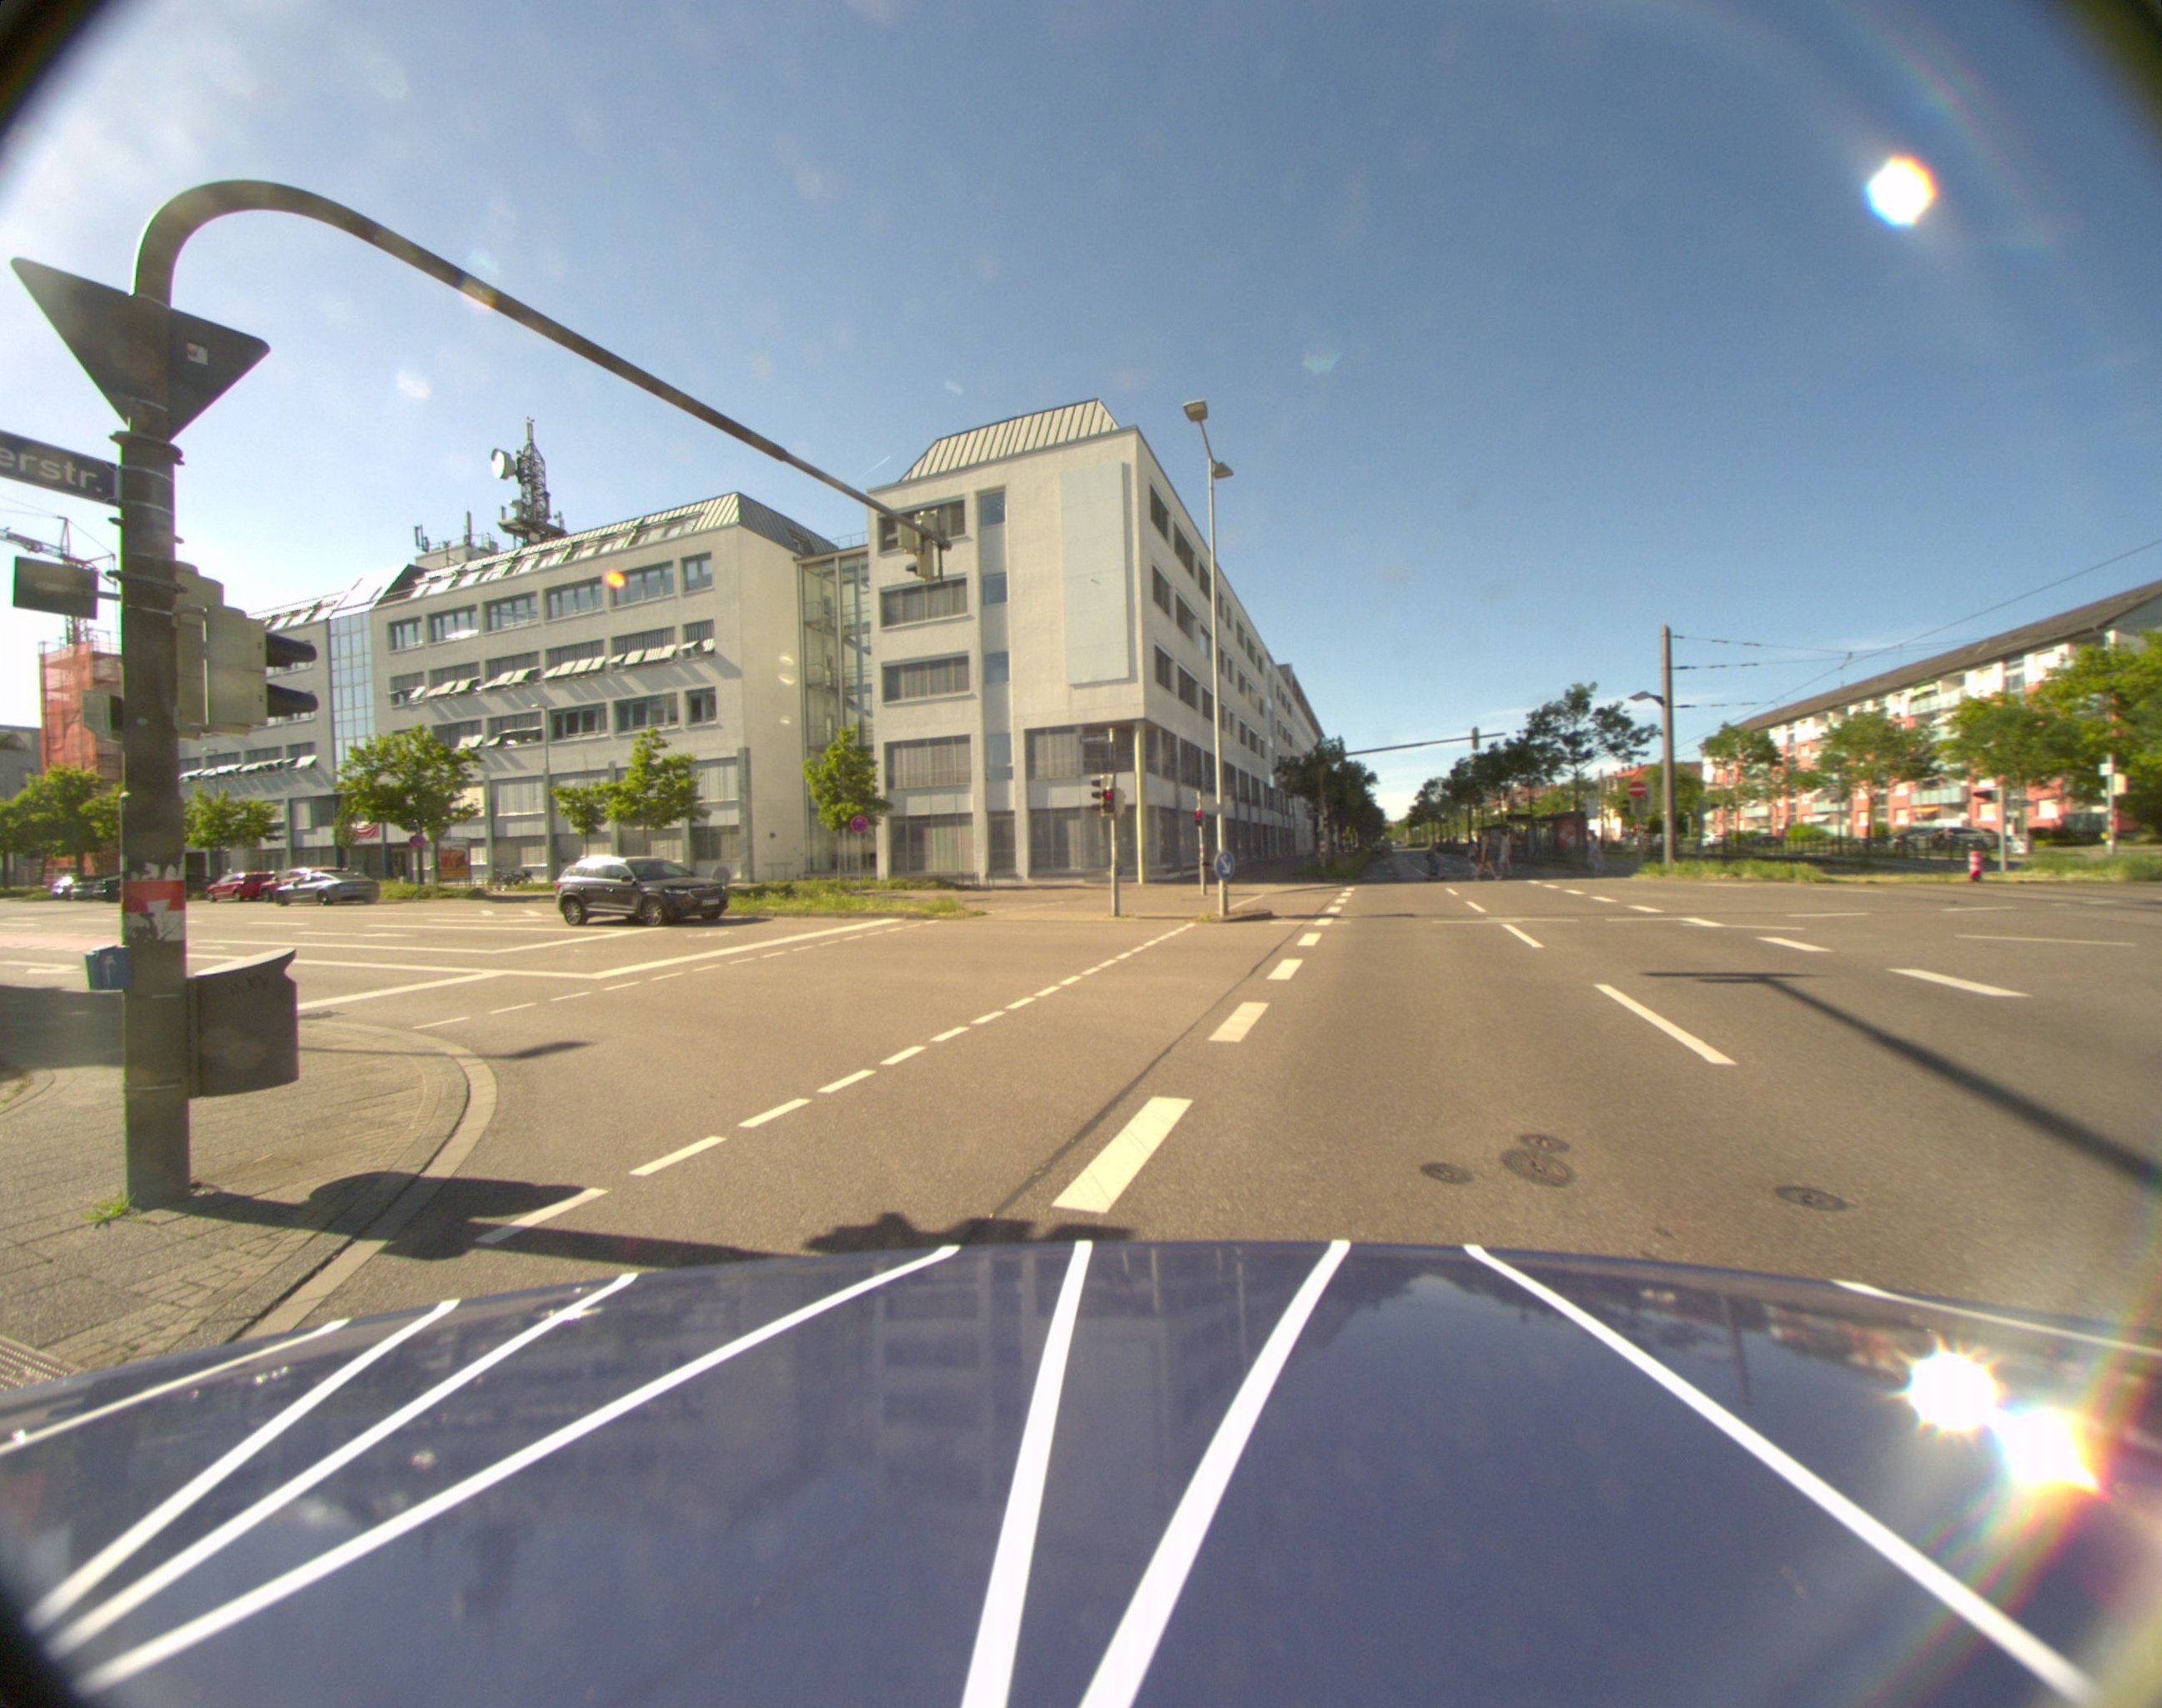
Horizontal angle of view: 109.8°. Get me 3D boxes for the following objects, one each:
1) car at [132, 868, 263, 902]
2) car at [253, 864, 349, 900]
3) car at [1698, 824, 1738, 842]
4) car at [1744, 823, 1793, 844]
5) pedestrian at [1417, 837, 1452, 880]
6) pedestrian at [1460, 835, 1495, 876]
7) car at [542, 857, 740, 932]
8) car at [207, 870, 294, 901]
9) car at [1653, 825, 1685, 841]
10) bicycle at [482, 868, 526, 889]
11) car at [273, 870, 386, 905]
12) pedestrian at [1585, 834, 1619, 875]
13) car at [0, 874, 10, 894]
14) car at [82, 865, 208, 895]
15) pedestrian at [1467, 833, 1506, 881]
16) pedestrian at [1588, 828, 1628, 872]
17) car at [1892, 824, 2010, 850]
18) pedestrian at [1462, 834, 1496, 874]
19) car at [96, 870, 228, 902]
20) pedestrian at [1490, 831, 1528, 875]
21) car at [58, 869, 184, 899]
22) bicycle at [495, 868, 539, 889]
[{"bbox_3d":[-49.743,1.704,42.914,1.690,1.530,4.403,-1,3,17],"label":"car"},{"bbox_3d":[-38.600,1.394,37.596,4.300,1.598,1.695,-1,3,22],"label":"car"},{"bbox_3d":[67.734,-2.176,80.912,1.996,1.838,4.005,-1,0,20],"label":"car"},{"bbox_3d":[64.142,-1.864,70.993,1.996,1.838,4.005,-1,0,20],"label":"car"},{"bbox_3d":[14.310,0.174,30.755,1.152,1.716,0.814,-1,1,17],"label":"pedestrian"},{"bbox_3d":[16.834,0.054,32.308,1.152,1.716,0.814,-1,1,17],"label":"pedestrian"},{"bbox_3d":[-11.038,0.978,19.082,4.468,1.619,1.761,-1,3,21],"label":"car"},{"bbox_3d":[-43.104,1.607,39.425,3.862,1.424,1.695,-1,3,22],"label":"car"},{"bbox_3d":[73.454,-2.635,94.999,1.996,1.838,4.005,-1,0,20],"label":"car"},{"bbox_3d":[-31.034,1.301,40.895,0.554,1.063,1.776,-1,0,29],"label":"bicycle"},{"bbox_3d":[-33.475,1.488,33.854,4.537,1.460,1.696,-1,0,19],"label":"car"},{"bbox_3d":[20.112,0.019,29.341,0.856,1.524,0.727,-1,1,17],"label":"pedestrian"},{"bbox_3d":[-81.131,2.353,54.576,1.973,1.424,4.403,-1,3,18],"label":"car"},{"bbox_3d":[-56.301,1.541,45.801,1.689,1.424,4.404,-1,3,23],"label":"car"},{"bbox_3d":[15.197,0.112,28.494,1.152,1.716,0.814,-1,1,17],"label":"pedestrian"},{"bbox_3d":[21.063,-0.146,30.371,1.156,1.716,0.811,-2,1,-27],"label":"pedestrian"},{"bbox_3d":[52.012,-1.010,45.550,1.696,1.424,4.388,-4,3,-30],"label":"car"},{"bbox_3d":[17.359,0.011,33.189,1.152,1.716,0.814,-1,1,17],"label":"pedestrian"},{"bbox_3d":[-52.704,1.818,43.702,1.690,1.424,4.403,-1,3,19],"label":"car"},{"bbox_3d":[17.445,-0.032,30.981,1.152,1.760,0.925,-1,1,17],"label":"pedestrian"},{"bbox_3d":[-58.578,1.776,46.482,1.689,1.424,4.404,-1,3,22],"label":"car"},{"bbox_3d":[-30.248,1.326,40.780,0.620,1.063,1.798,-1,0,29],"label":"bicycle"}]
